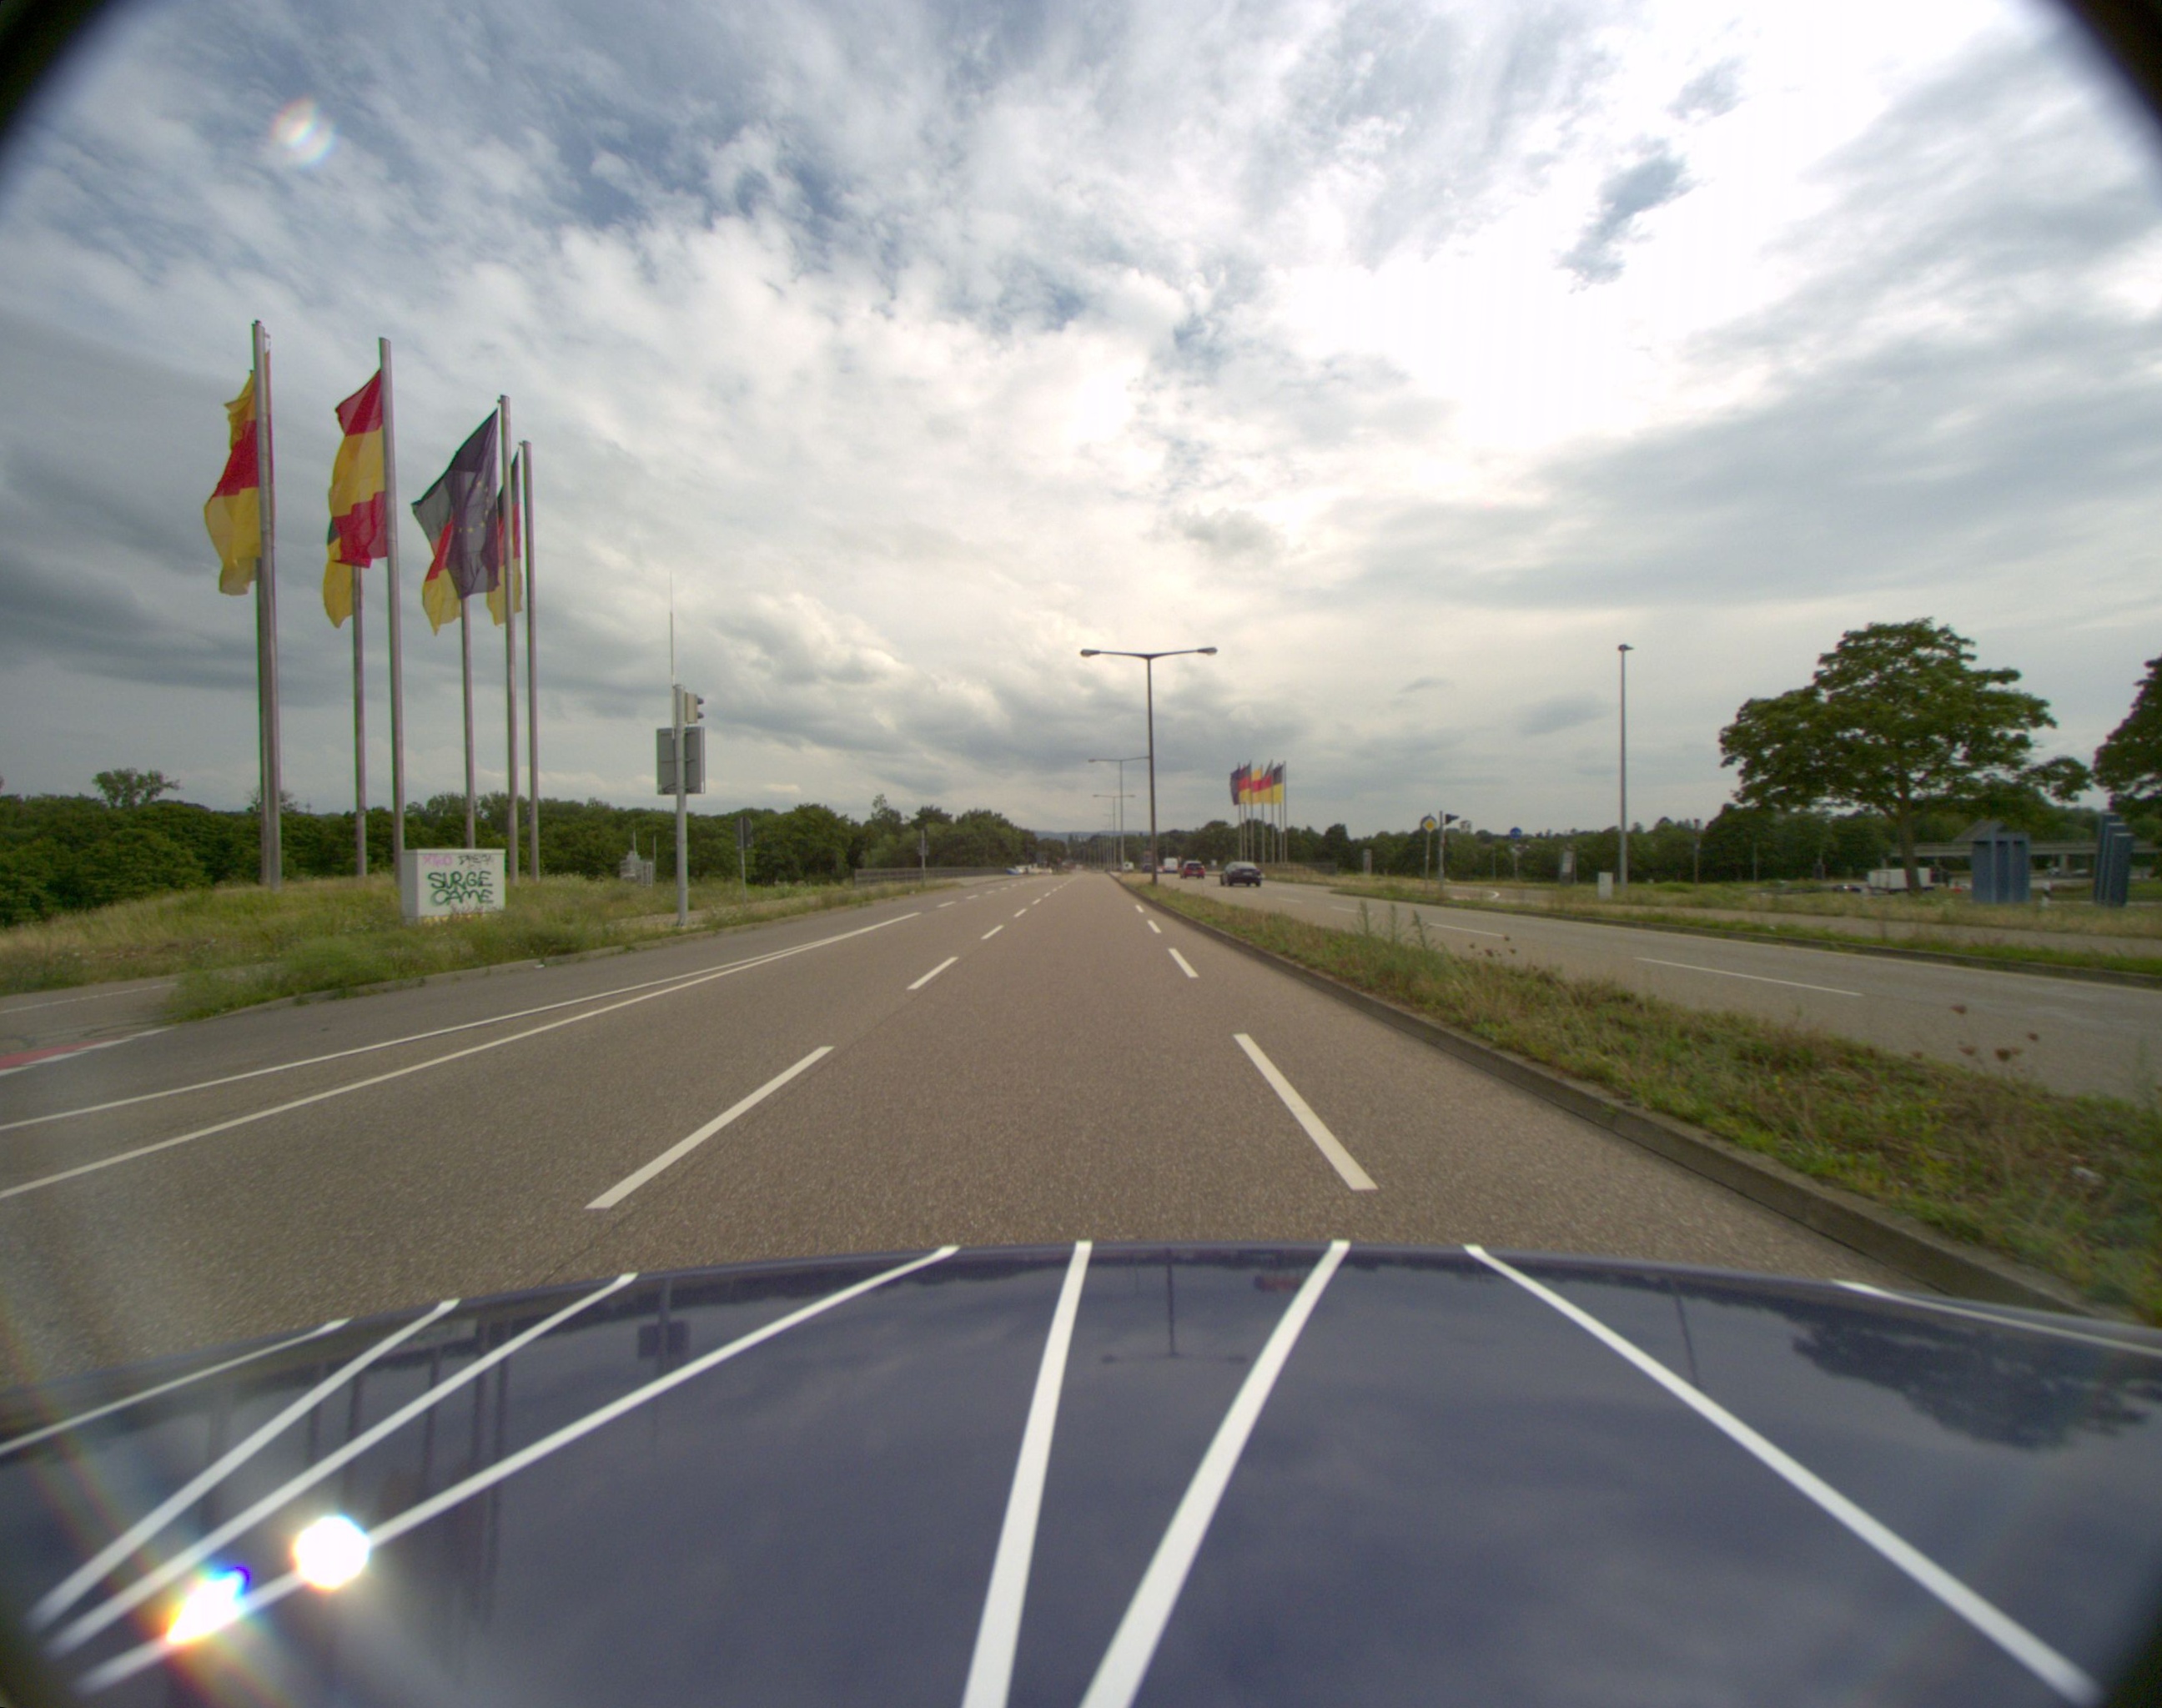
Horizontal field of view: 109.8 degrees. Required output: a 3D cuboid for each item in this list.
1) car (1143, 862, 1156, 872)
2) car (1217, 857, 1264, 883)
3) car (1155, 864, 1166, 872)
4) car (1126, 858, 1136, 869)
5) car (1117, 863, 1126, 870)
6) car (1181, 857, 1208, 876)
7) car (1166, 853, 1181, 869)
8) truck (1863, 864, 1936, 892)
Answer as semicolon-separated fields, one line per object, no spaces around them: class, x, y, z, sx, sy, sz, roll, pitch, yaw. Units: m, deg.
car;11.156;2.114;123.680;1.751;1.576;4.587;1;-1;2
car;9.386;0.918;45.036;1.750;1.467;4.564;0;0;-1
car;16.294;2.825;156.168;1.742;1.472;4.472;1;0;1
car;8.077;1.526;122.820;1.543;1.860;3.571;1;-1;2
car;8.961;2.806;167.359;1.742;1.472;4.777;1;-1;1
car;9.946;1.108;66.908;1.655;1.565;4.338;1;0;-1
car;14.944;1.156;122.987;2.057;2.627;6.403;1;-1;5
truck;137.477;3.955;127.588;14.018;4.318;3.025;-1;0;-19
